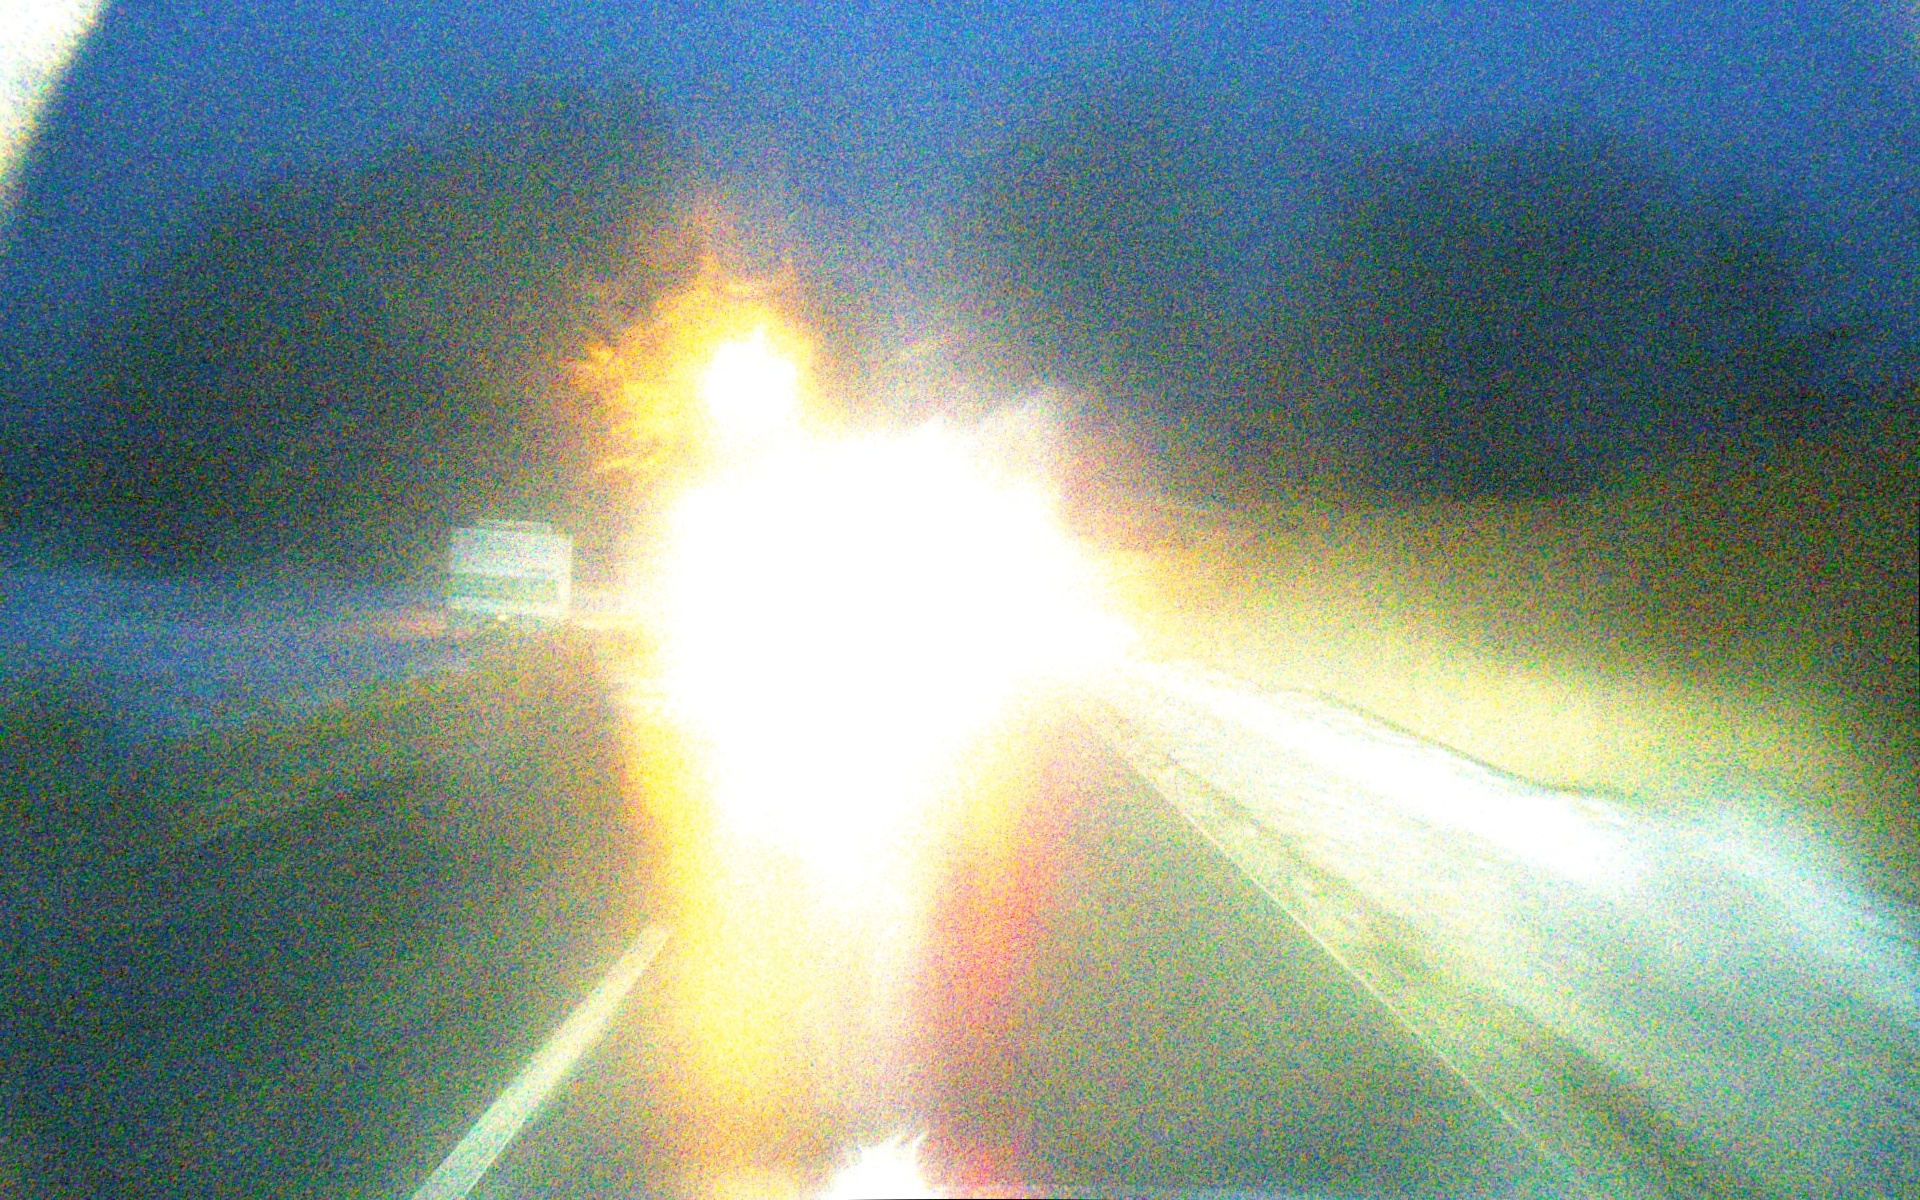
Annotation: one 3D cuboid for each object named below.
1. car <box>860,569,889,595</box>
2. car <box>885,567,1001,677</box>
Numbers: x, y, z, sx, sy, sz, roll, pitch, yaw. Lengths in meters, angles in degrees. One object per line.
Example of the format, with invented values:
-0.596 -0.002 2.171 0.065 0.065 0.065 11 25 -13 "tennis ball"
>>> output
-5.348 -1.127 104.188 1.697 1.545 4.014 1 0 -2 "car"
-0.280 0.360 27.991 1.765 1.657 3.614 3 0 -1 "car"
